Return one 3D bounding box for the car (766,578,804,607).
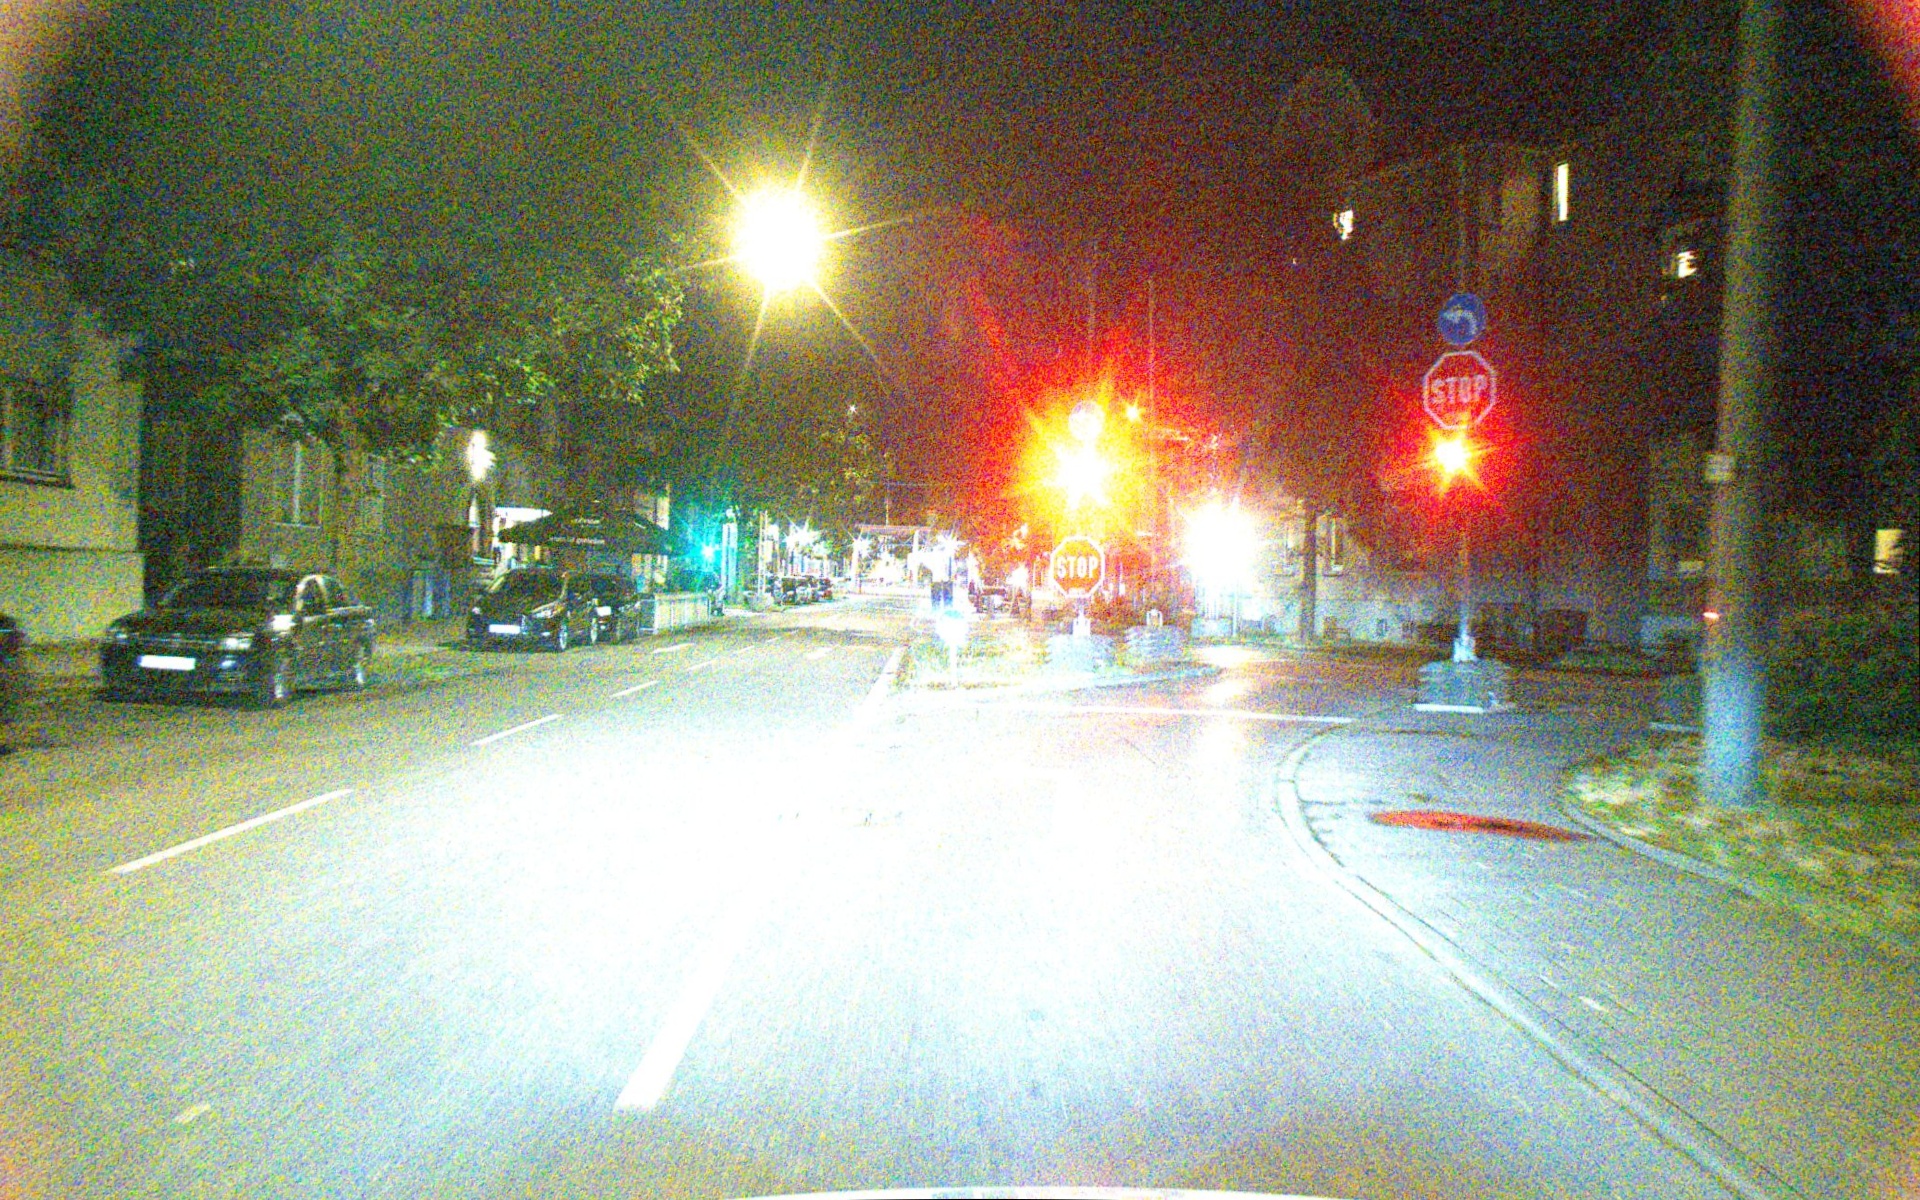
[{"bbox_3d":[-9.230,-0.404,87.553,1.618,1.456,3.999,1,0,-1],"label":"car"}]

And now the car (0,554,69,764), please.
[{"bbox_3d":[-7.737,0.420,10.394,1.732,1.511,4.862,1,0,-2],"label":"car"}]

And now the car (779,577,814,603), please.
[{"bbox_3d":[-9.244,-0.574,93.564,1.618,1.456,3.999,1,0,-1],"label":"car"}]

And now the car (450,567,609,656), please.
[{"bbox_3d":[-8.193,0.176,31.887,1.861,1.497,4.451,3,1,-1],"label":"car"}]

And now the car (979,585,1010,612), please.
[{"bbox_3d":[1.849,-0.101,90.127,1.617,1.456,4.000,1,0,0],"label":"car"}]

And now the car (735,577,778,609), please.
[{"bbox_3d":[-9.725,-0.331,79.306,1.618,1.456,3.999,1,0,-1],"label":"car"}]

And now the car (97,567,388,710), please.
[{"bbox_3d":[-7.924,0.372,18.731,1.590,1.407,4.449,1,0,-4],"label":"car"}]

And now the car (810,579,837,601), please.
[{"bbox_3d":[-9.404,-0.685,114.184,1.618,1.456,3.999,1,0,-1],"label":"car"}]

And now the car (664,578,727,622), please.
[{"bbox_3d":[-9.262,-0.017,58.230,1.618,1.456,3.999,1,0,-1],"label":"car"}]

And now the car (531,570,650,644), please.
[{"bbox_3d":[-8.151,0.128,36.883,1.767,1.507,4.322,1,0,-2],"label":"car"}]

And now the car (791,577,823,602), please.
[{"bbox_3d":[-9.274,-0.665,100.450,1.618,1.456,3.999,1,0,-1],"label":"car"}]
